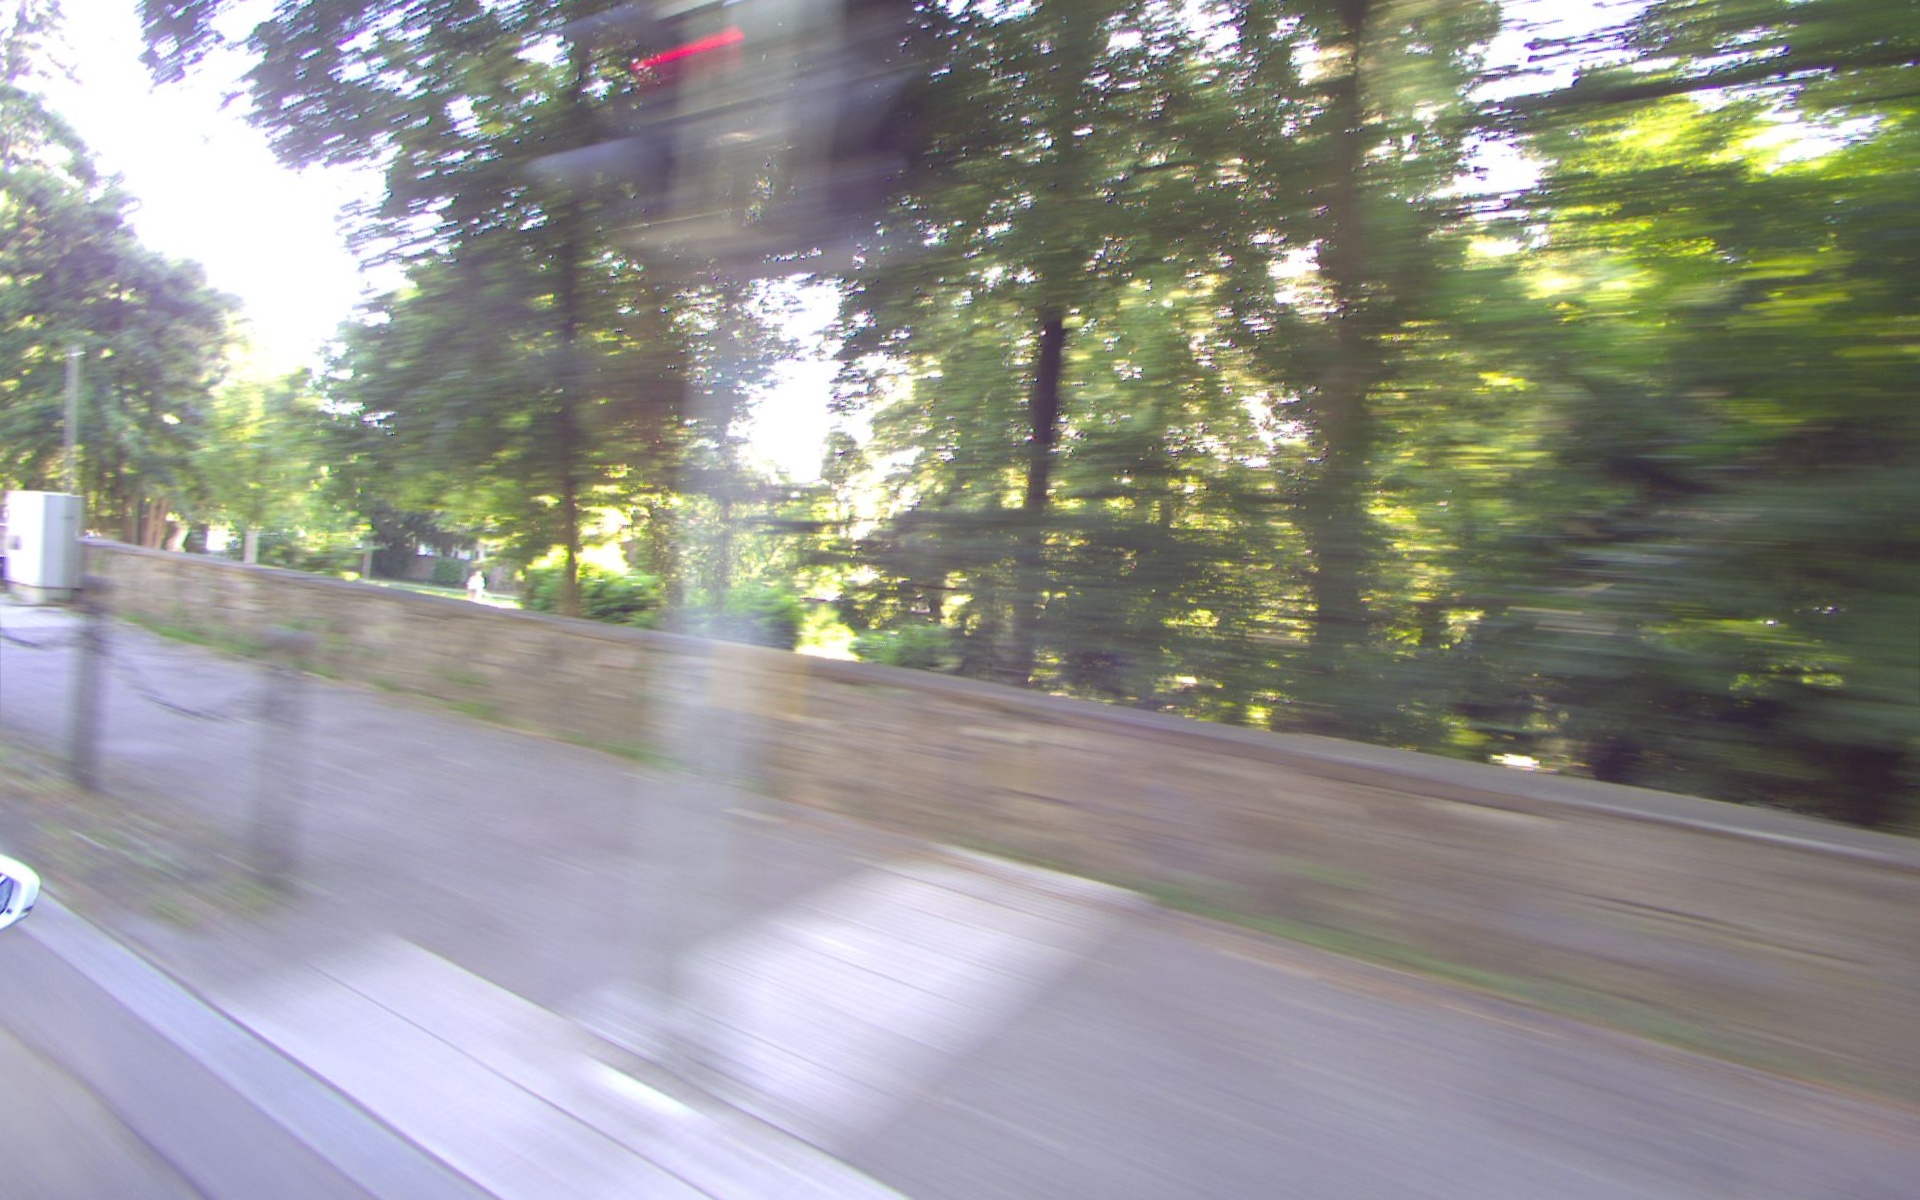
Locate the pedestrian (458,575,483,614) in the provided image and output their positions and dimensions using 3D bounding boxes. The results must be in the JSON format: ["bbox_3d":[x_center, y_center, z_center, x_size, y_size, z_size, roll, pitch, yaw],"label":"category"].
[{"bbox_3d":[-21.879,-0.250,44.992,0.626,1.659,0.615,6,-1,33],"label":"pedestrian"}]
